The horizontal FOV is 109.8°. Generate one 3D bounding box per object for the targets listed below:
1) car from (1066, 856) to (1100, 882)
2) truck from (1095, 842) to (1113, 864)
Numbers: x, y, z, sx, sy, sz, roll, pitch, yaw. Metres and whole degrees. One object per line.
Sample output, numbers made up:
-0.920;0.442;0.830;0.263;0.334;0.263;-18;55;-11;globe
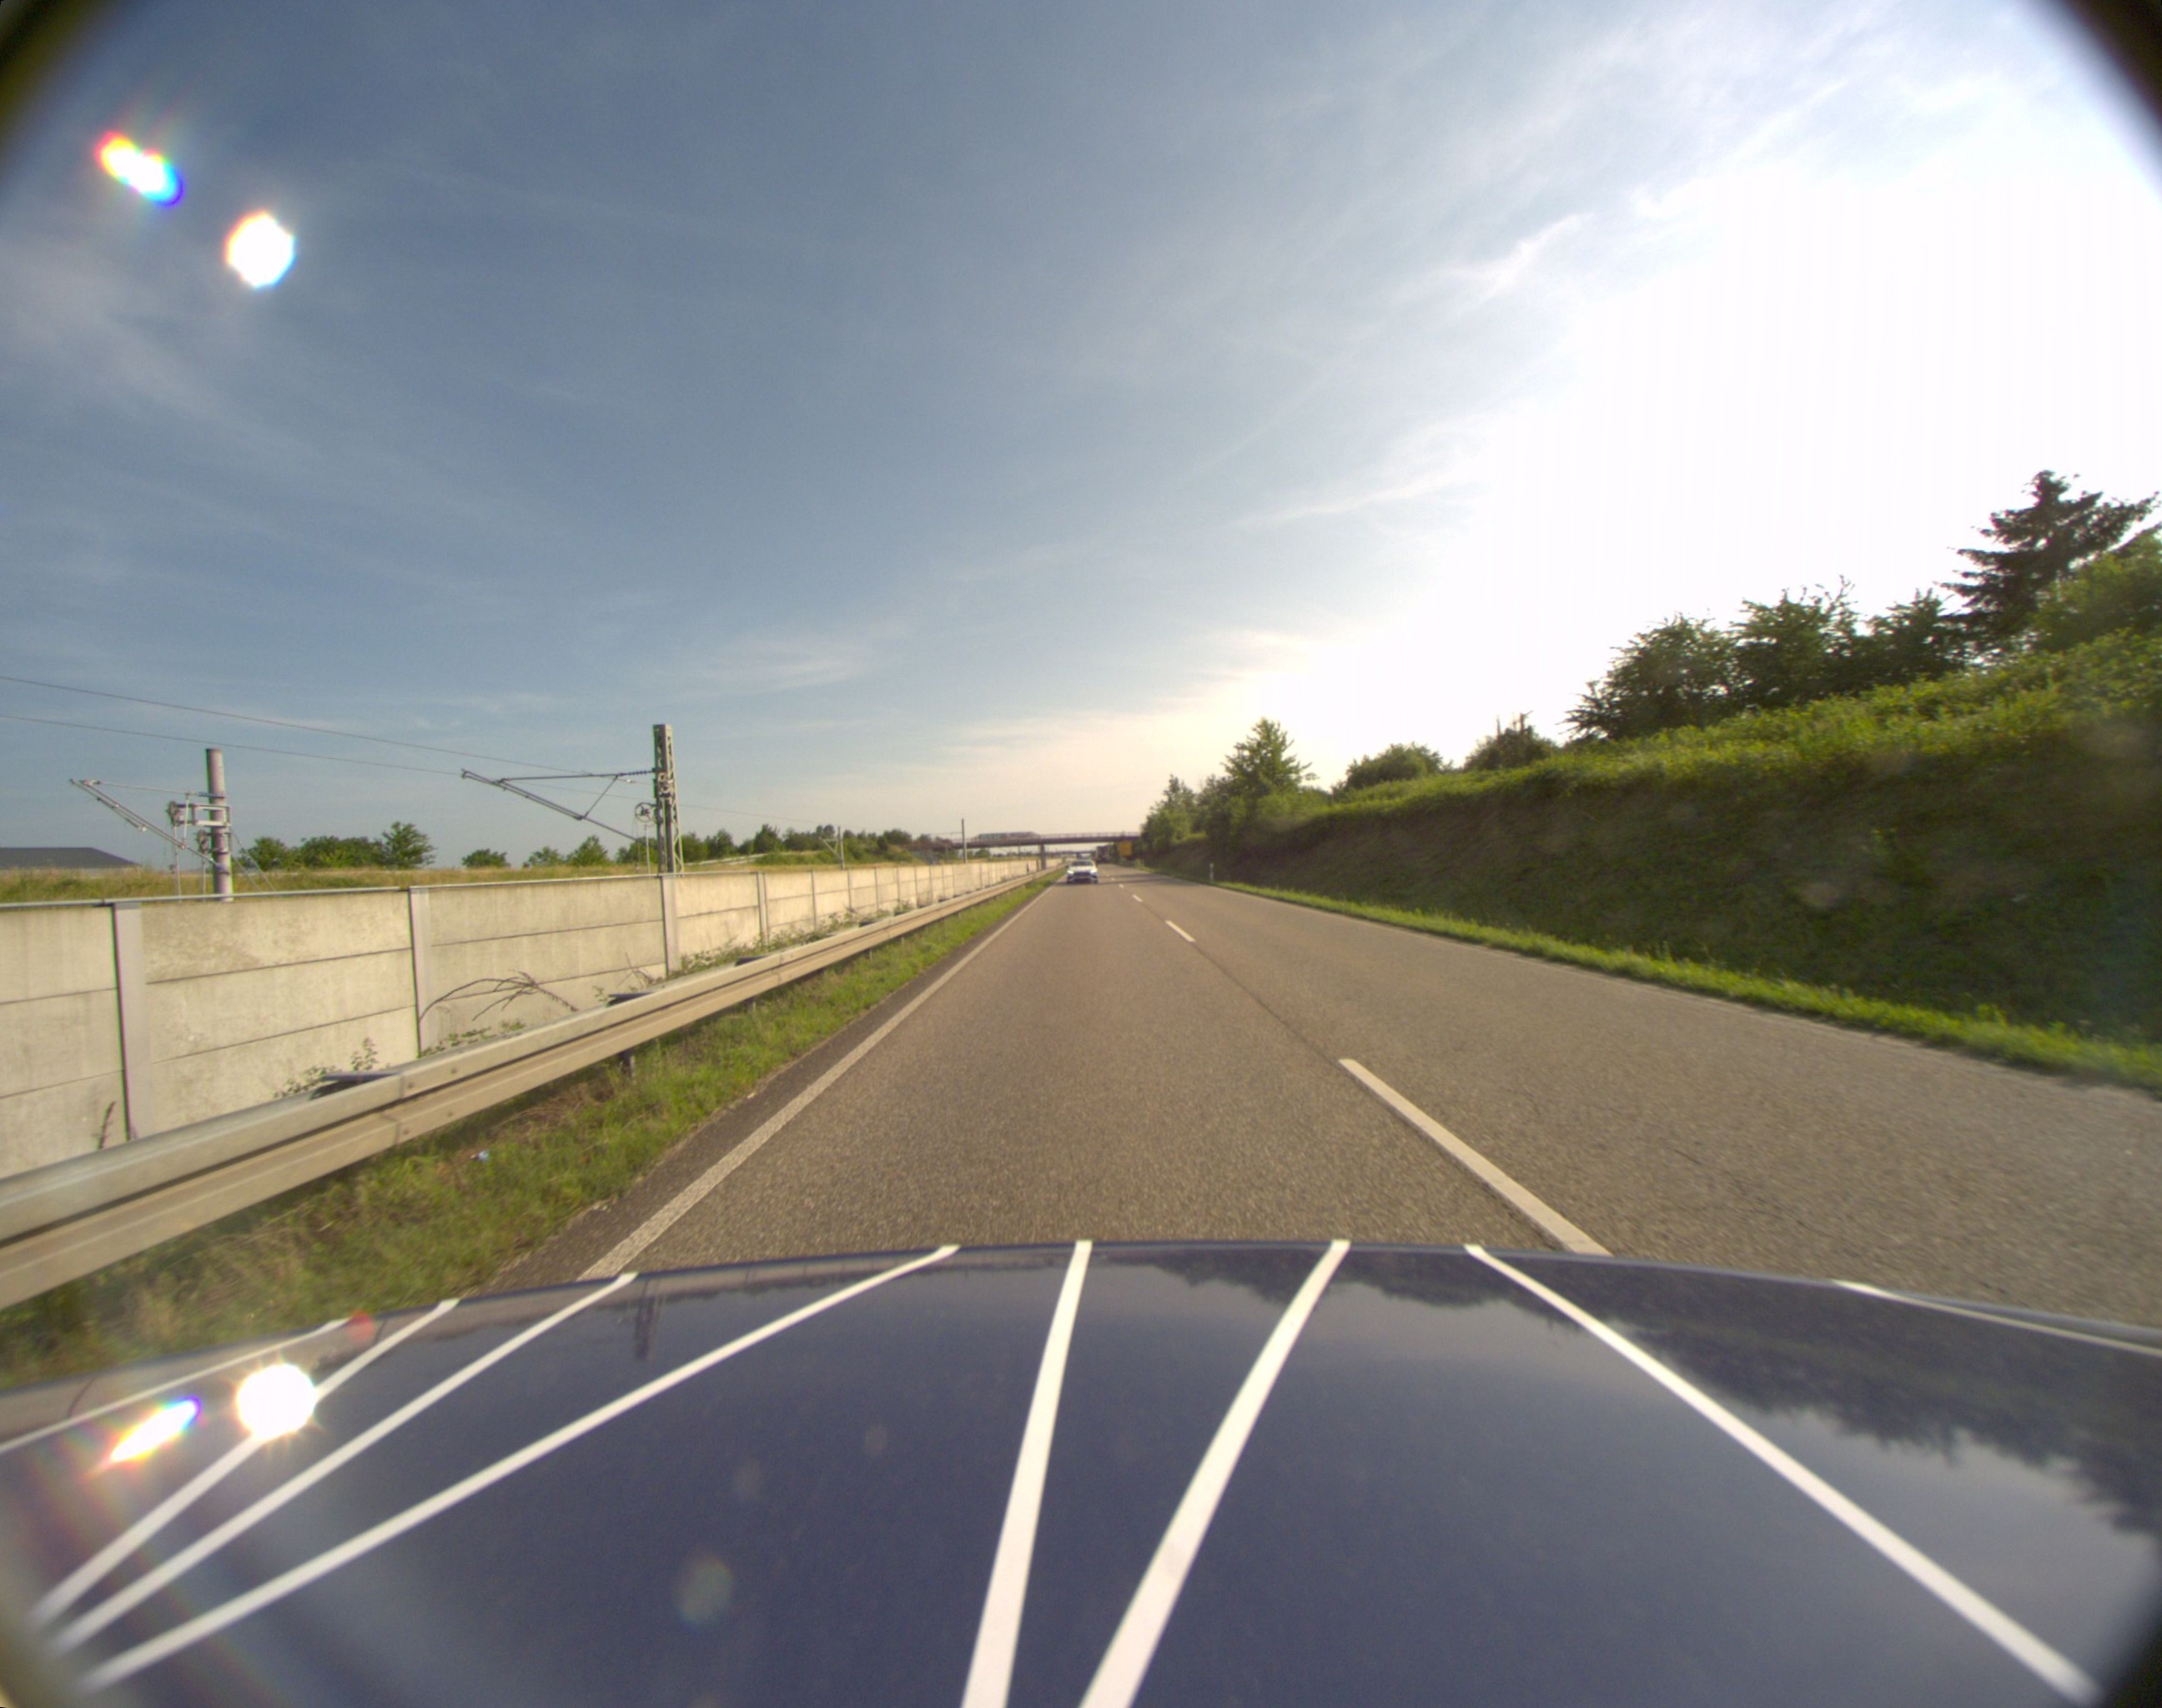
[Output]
0.161;0.889;47.093;1.952;1.430;4.612;-2;0;1;car
5.358;-0.210;178.632;3.792;4.617;19.838;-2;0;1;truck
